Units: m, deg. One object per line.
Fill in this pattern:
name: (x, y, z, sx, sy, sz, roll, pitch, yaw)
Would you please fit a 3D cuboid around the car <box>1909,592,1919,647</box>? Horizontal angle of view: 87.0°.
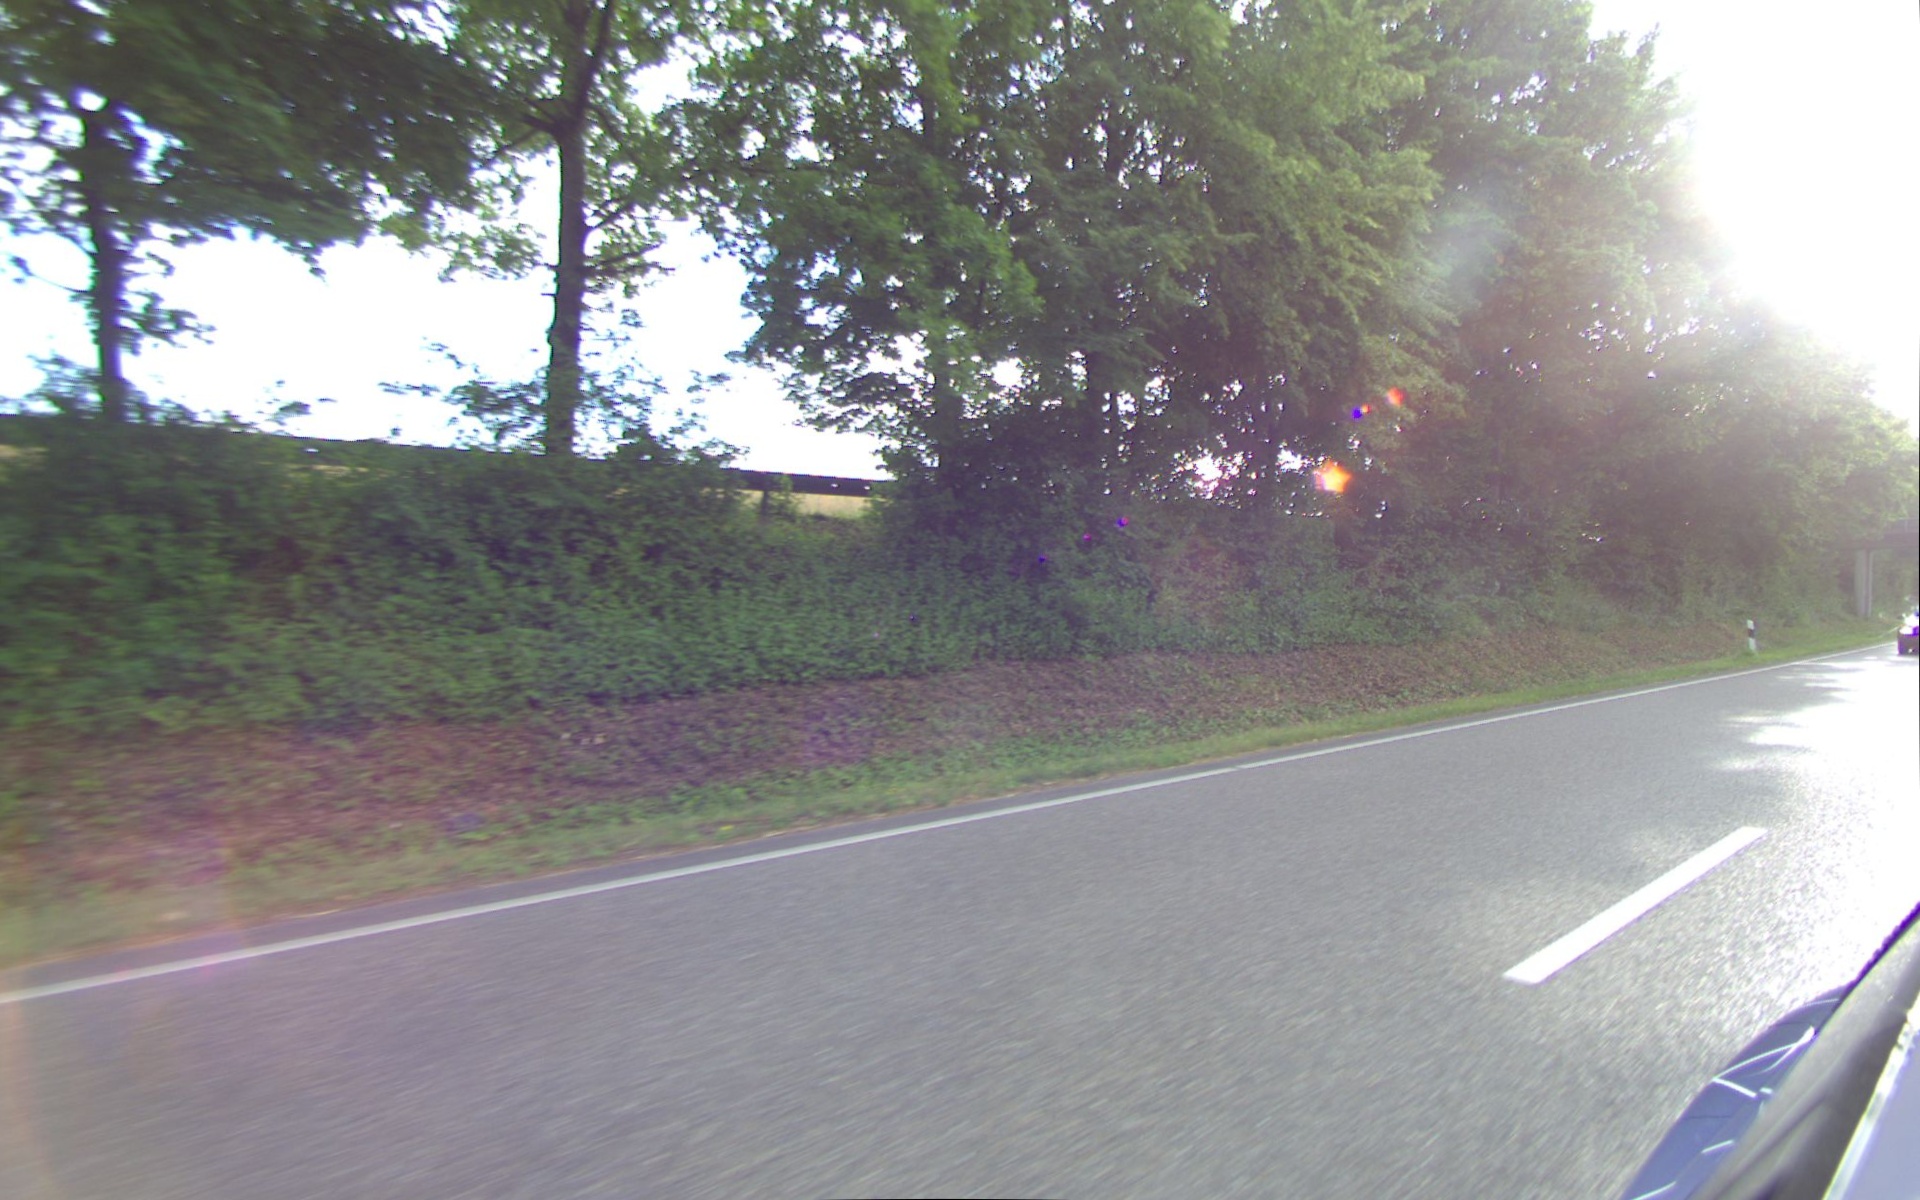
car: (28.059, 0.571, 28.281, 3.660, 1.494, 1.723, 1, 0, -39)
